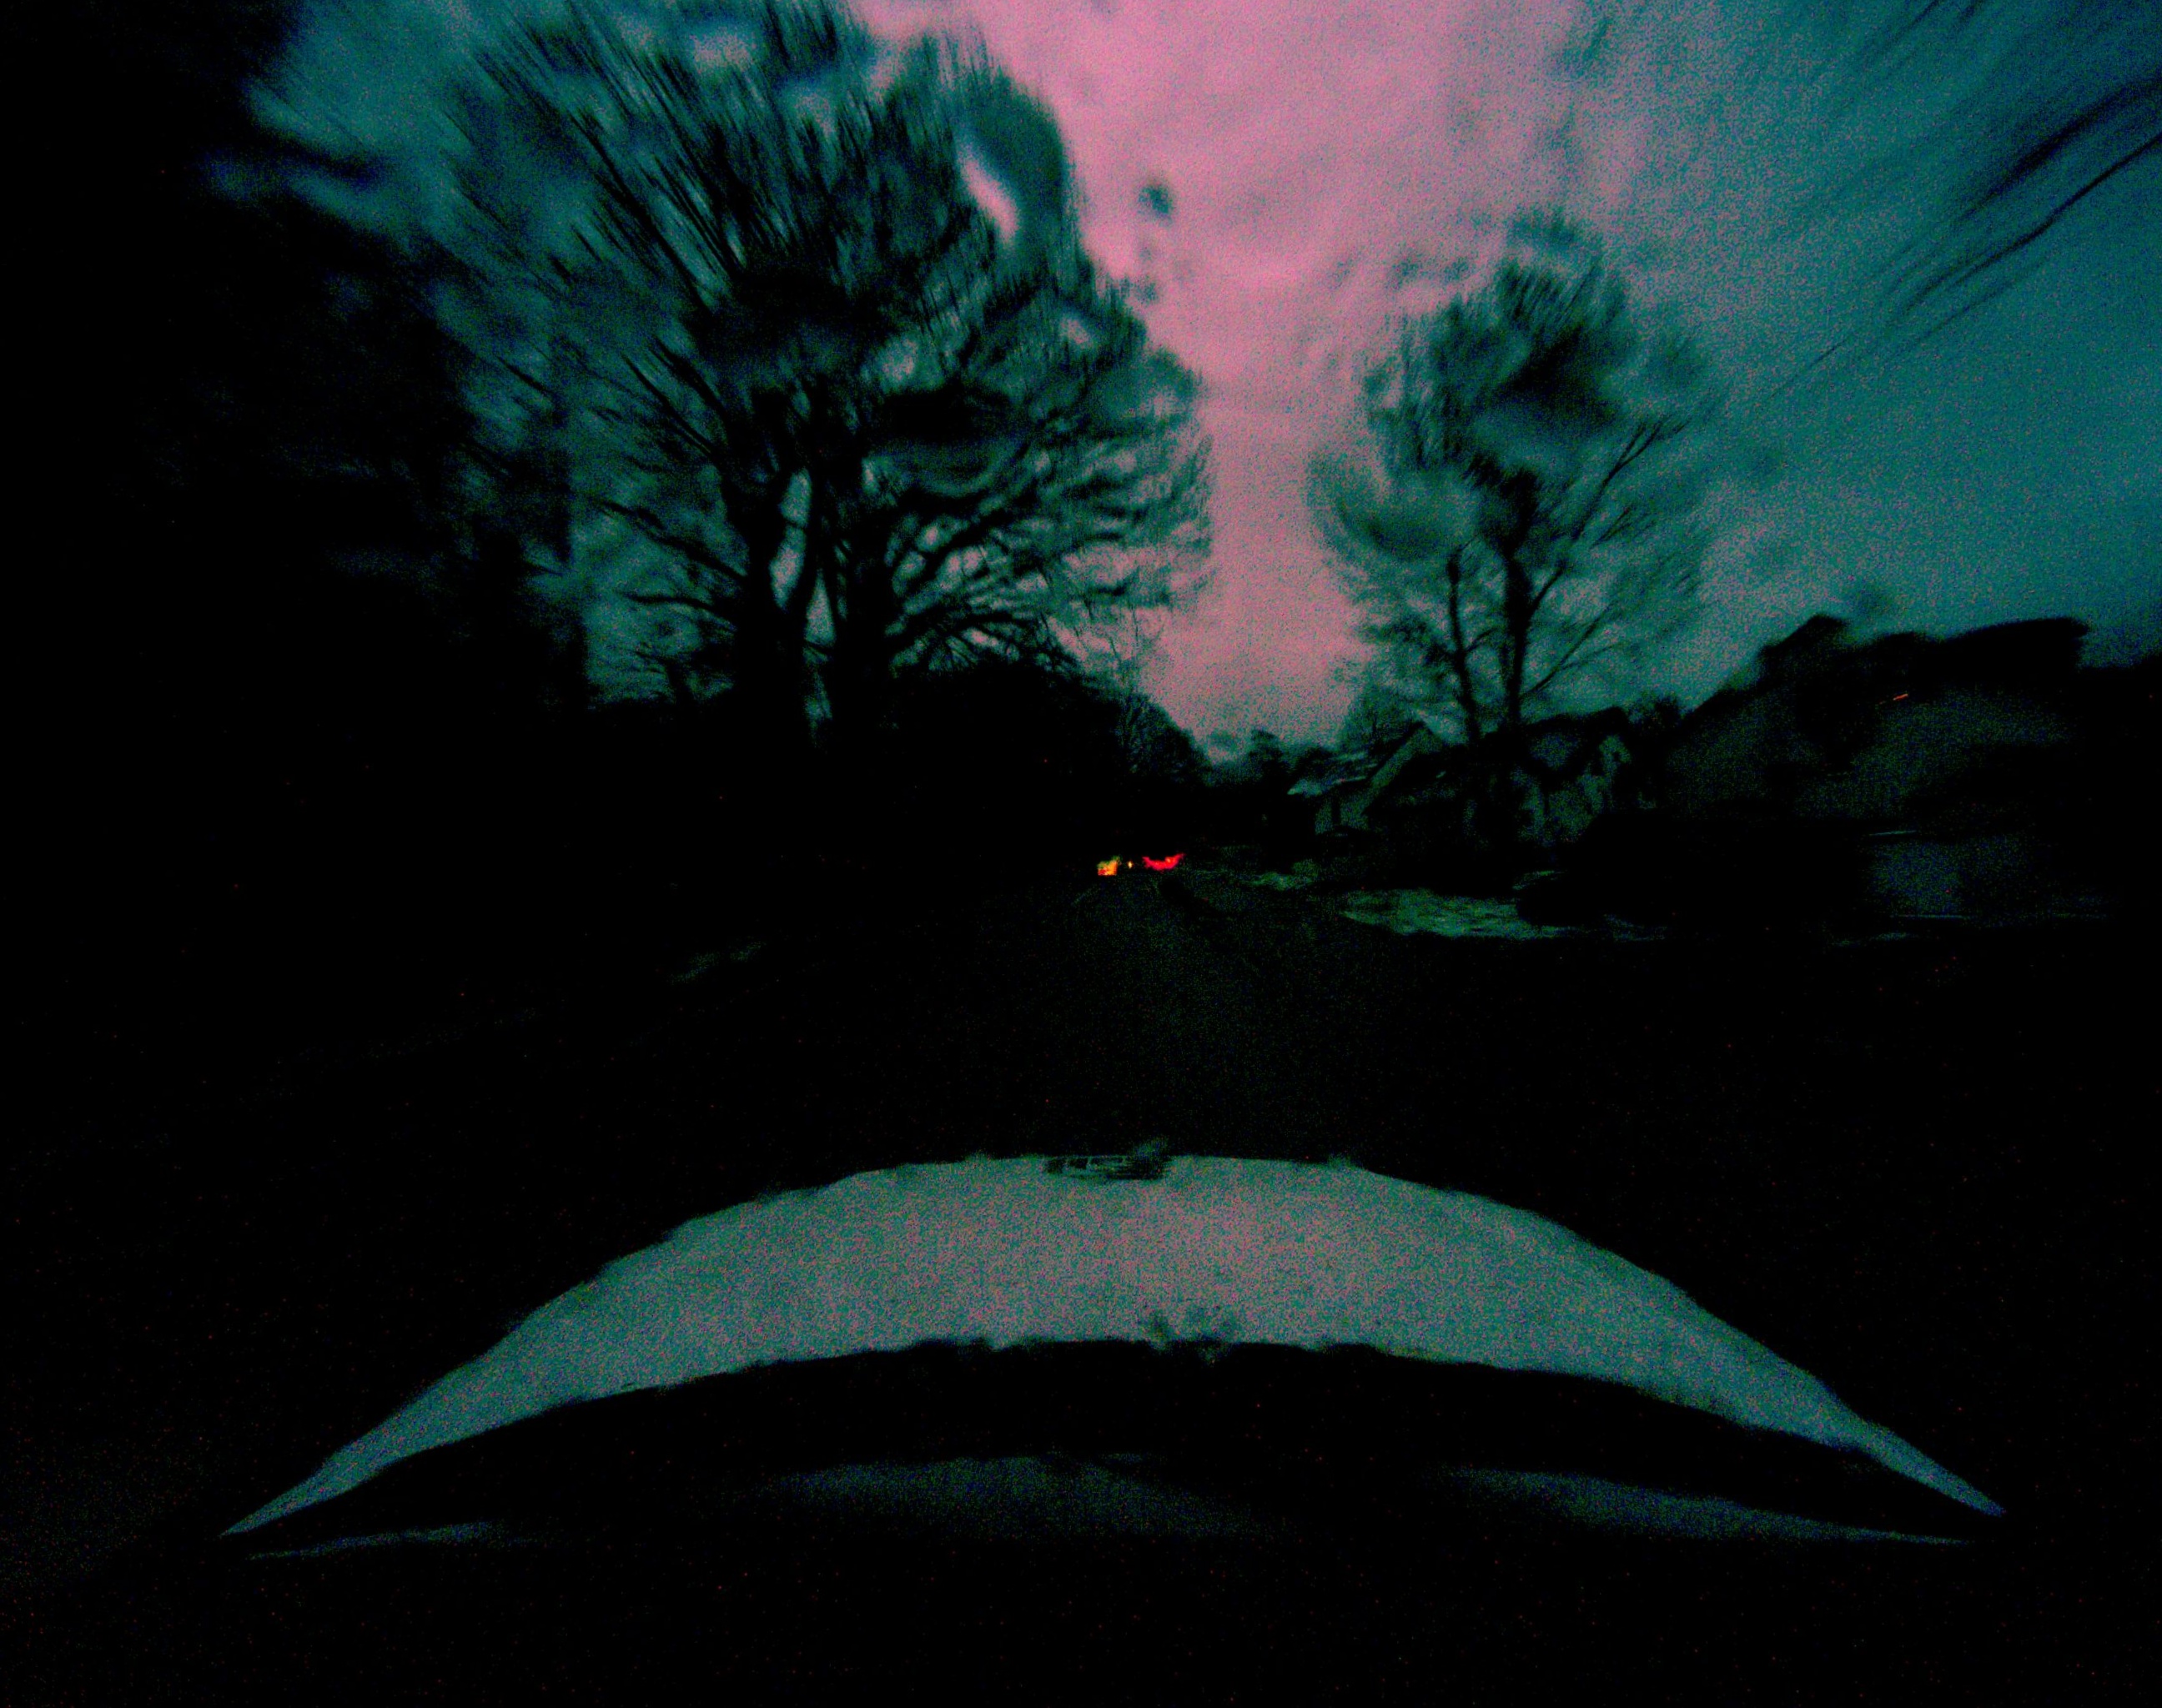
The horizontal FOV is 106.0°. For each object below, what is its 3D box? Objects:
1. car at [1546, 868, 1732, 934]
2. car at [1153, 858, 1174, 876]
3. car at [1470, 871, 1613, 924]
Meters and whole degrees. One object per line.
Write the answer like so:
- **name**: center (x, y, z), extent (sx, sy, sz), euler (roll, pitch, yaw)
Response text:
- **car**: center (14.881, 1.220, 21.847), extent (3.771, 1.597, 1.802), euler (-1, 0, -2)
- **car**: center (8.198, 1.270, 80.802), extent (1.922, 1.781, 4.008), euler (-1, 0, 7)
- **car**: center (15.395, 1.437, 27.365), extent (3.771, 1.597, 1.802), euler (-1, 0, -2)
